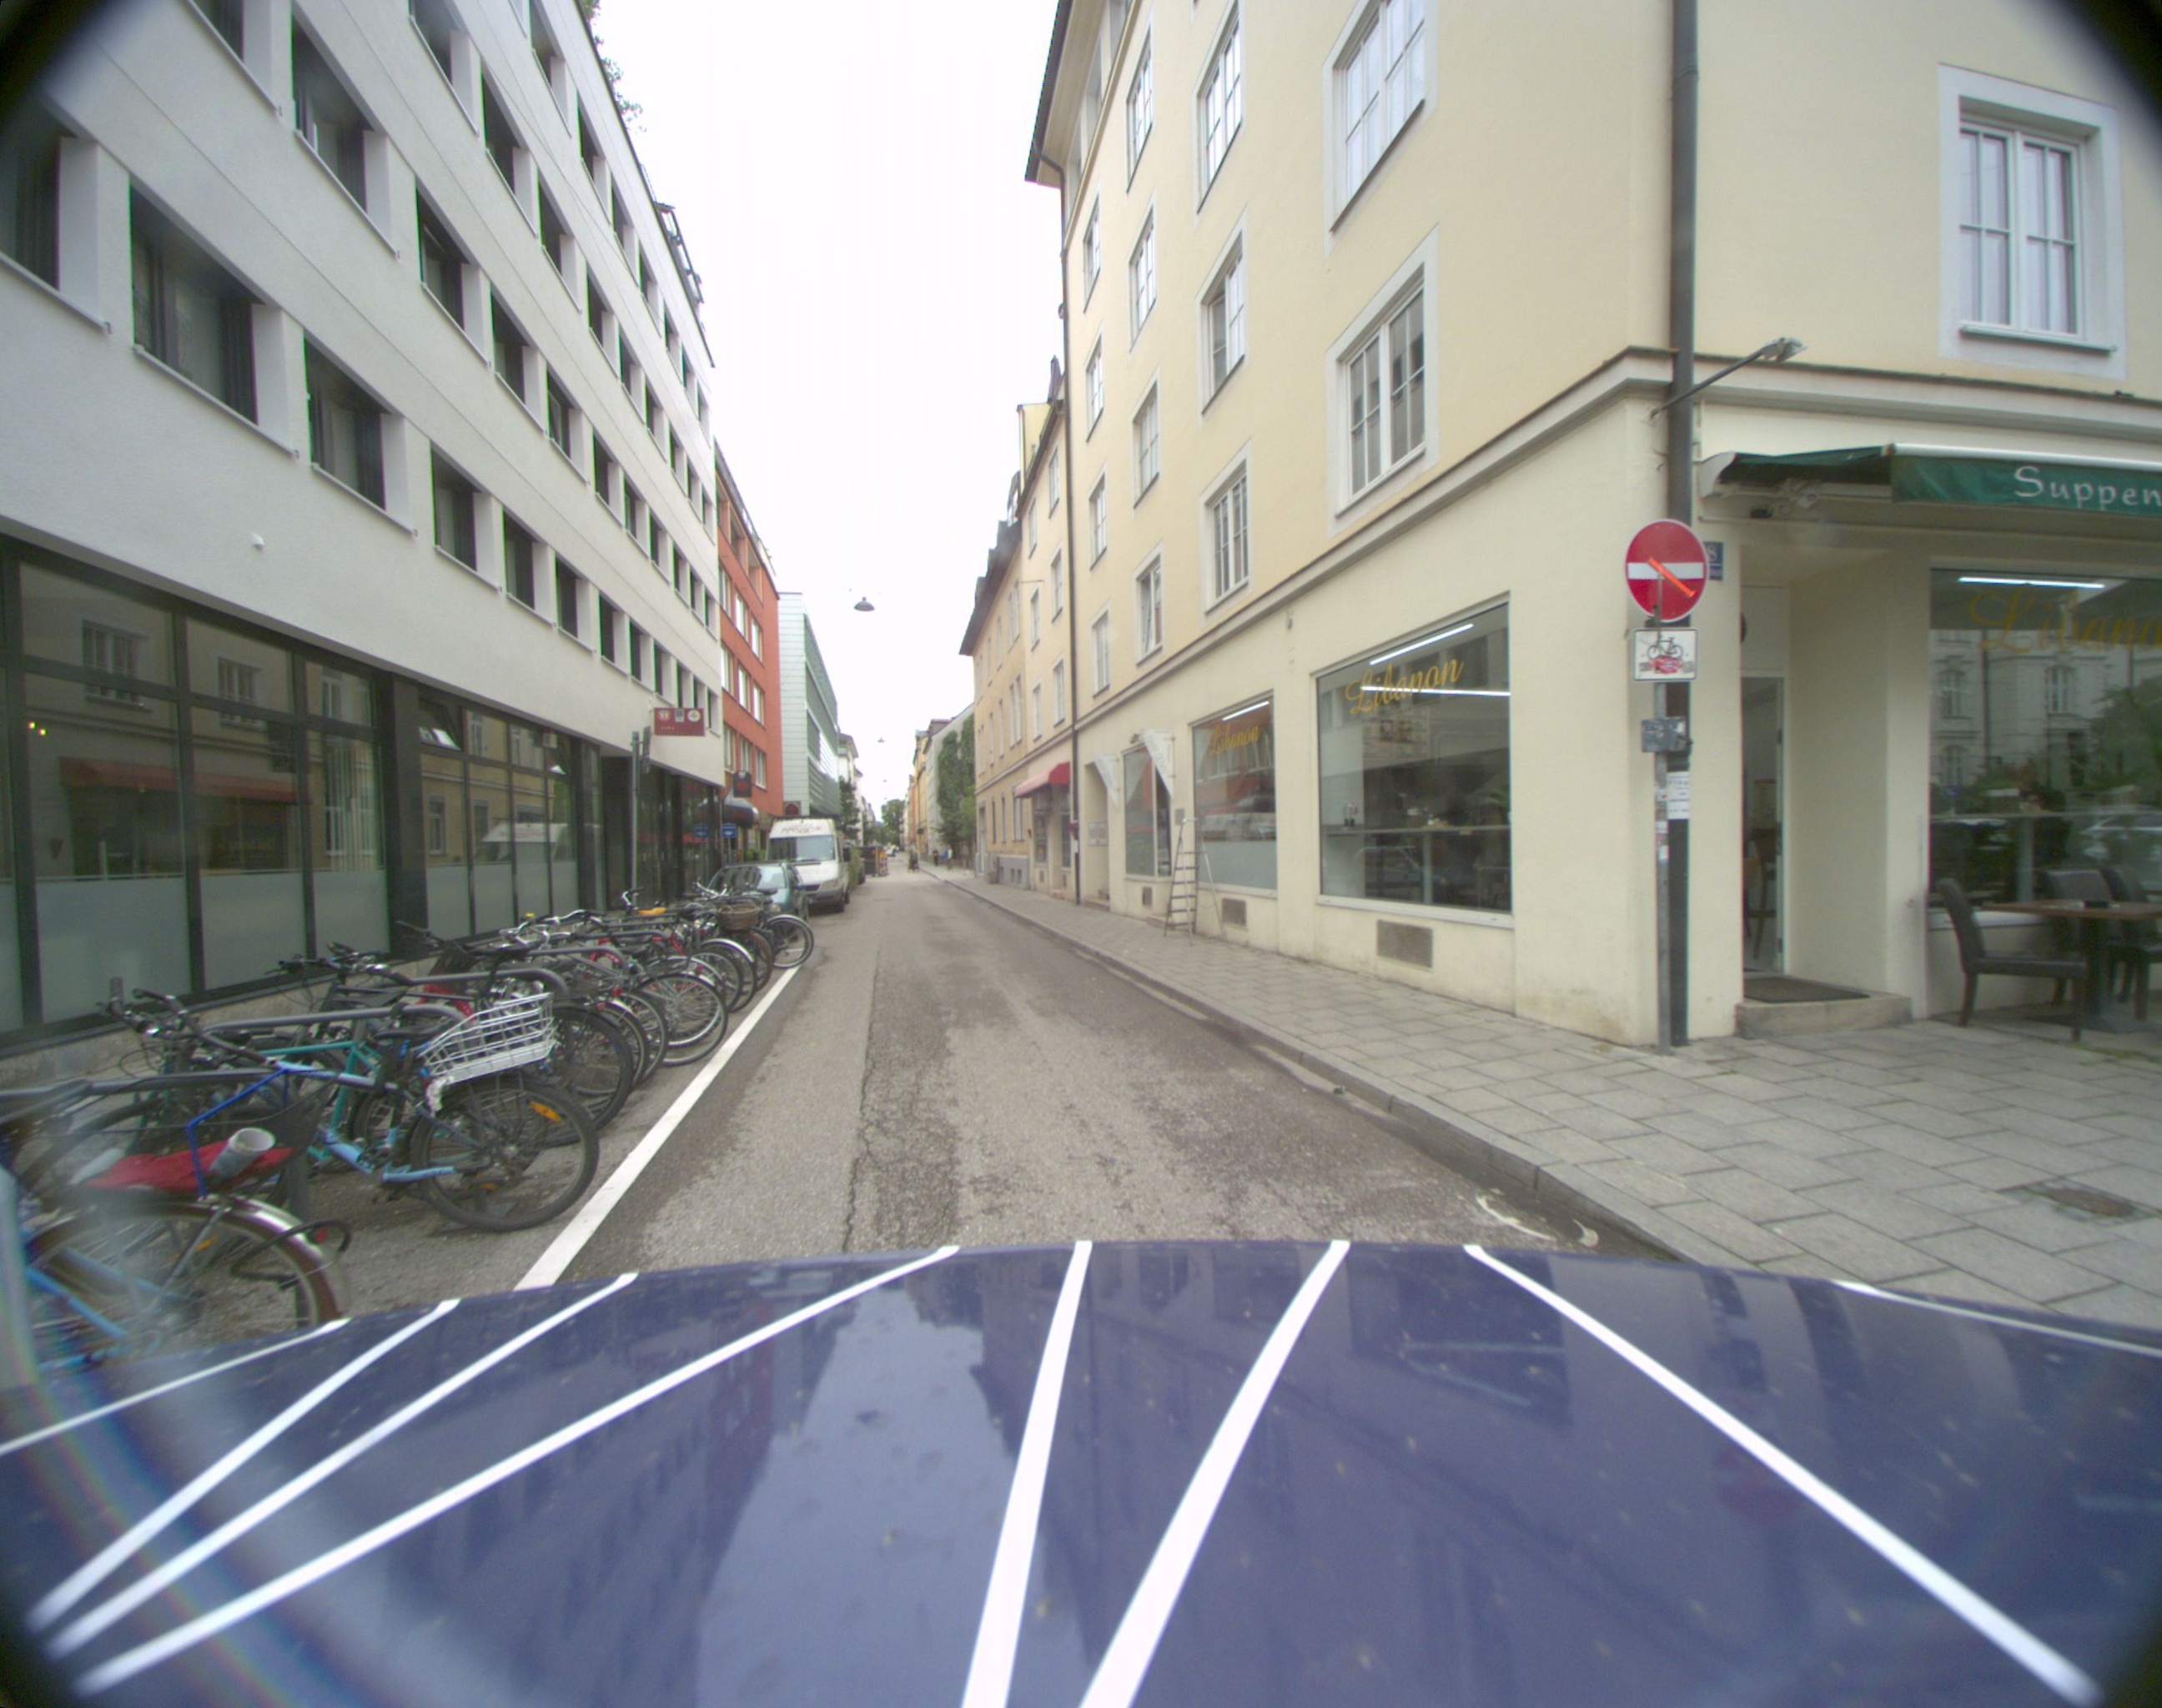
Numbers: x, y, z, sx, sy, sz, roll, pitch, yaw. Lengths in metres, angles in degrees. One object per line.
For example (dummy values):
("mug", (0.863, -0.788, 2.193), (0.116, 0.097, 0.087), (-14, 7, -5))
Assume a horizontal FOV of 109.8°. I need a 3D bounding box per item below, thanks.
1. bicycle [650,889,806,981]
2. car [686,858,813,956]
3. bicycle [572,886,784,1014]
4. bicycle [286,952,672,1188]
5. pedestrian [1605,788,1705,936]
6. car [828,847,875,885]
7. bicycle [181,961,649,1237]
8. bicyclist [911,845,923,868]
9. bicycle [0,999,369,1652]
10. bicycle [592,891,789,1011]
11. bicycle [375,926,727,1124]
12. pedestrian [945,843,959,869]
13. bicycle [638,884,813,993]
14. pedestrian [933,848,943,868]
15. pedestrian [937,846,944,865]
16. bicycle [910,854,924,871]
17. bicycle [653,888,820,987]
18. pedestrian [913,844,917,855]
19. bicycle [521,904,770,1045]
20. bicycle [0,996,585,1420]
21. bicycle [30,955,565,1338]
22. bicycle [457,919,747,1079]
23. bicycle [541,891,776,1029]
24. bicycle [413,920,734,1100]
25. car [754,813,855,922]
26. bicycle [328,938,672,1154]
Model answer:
("bicycle", (-4.936, 1.116, 10.739), (1.880, 1.073, 0.488), (-4, 1, -16))
("car", (-5.956, 0.859, 14.019), (1.586, 1.456, 3.546), (-2, 1, -15))
("bicycle", (-4.190, 0.977, 8.051), (1.881, 1.197, 0.579), (-1, 1, -16))
("bicycle", (-3.322, 1.166, 4.322), (1.681, 1.073, 0.335), (-2, 0, -17))
("pedestrian", (6.996, 0.083, 9.306), (0.758, 1.715, 0.770), (0, 2, 19))
("car", (-11.422, 0.549, 37.999), (1.830, 1.700, 4.383), (-3, 1, -12))
("bicycle", (-3.279, 1.174, 3.907), (1.747, 1.073, 0.451), (-2, 0, -17))
("bicyclist", (-12.759, 0.193, 59.103), (0.930, 1.711, 1.098), (-1, 1, -14))
("bicycle", (-2.689, 1.068, 1.742), (1.462, 1.278, 0.445), (-2, 2, -12))
("bicycle", (-4.427, 1.071, 8.747), (1.881, 1.150, 0.564), (-3, 1, -16))
("bicycle", (-3.470, 1.096, 5.133), (1.881, 1.073, 0.408), (-2, 0, -17))
("pedestrian", (-9.214, 0.119, 54.318), (0.862, 1.834, 0.973), (-3, 2, -12))
("bicycle", (-4.371, 1.020, 9.461), (1.881, 1.197, 0.488), (-2, 0, -16))
("pedestrian", (-13.544, 0.398, 71.905), (0.778, 1.826, 0.990), (-2, 2, -14))
("pedestrian", (-12.826, 0.146, 69.362), (0.554, 1.650, 0.996), (-2, 2, -14))
("bicycle", (-12.841, 0.614, 59.416), (0.935, 1.250, 2.410), (-1, 1, -14))
("bicycle", (-4.466, 1.068, 9.973), (1.881, 1.102, 0.488), (-3, 1, -16))
("pedestrian", (-27.971, -0.713, 128.125), (0.494, 1.814, 0.552), (-1, 1, -14))
("bicycle", (-3.885, 1.052, 6.923), (1.881, 1.089, 0.439), (-2, 0, -17))
("bicycle", (-2.742, 1.165, 2.768), (1.457, 1.063, 0.462), (-2, 2, -21))
("bicycle", (-3.084, 1.103, 3.148), (1.457, 1.201, 0.394), (-2, 2, -21))
("bicycle", (-3.812, 1.132, 6.219), (1.881, 1.046, 0.563), (-2, 3, -17))
("bicycle", (-4.051, 0.988, 7.439), (1.901, 1.163, 0.565), (-1, 1, -16))
("bicycle", (-3.610, 1.082, 5.550), (1.881, 1.073, 0.402), (-2, 0, -17))
("car", (-7.421, 0.288, 20.973), (1.927, 2.492, 5.988), (-3, 1, -15))
("bicycle", (-3.481, 1.124, 4.679), (1.619, 1.073, 0.377), (-2, 0, -17))
